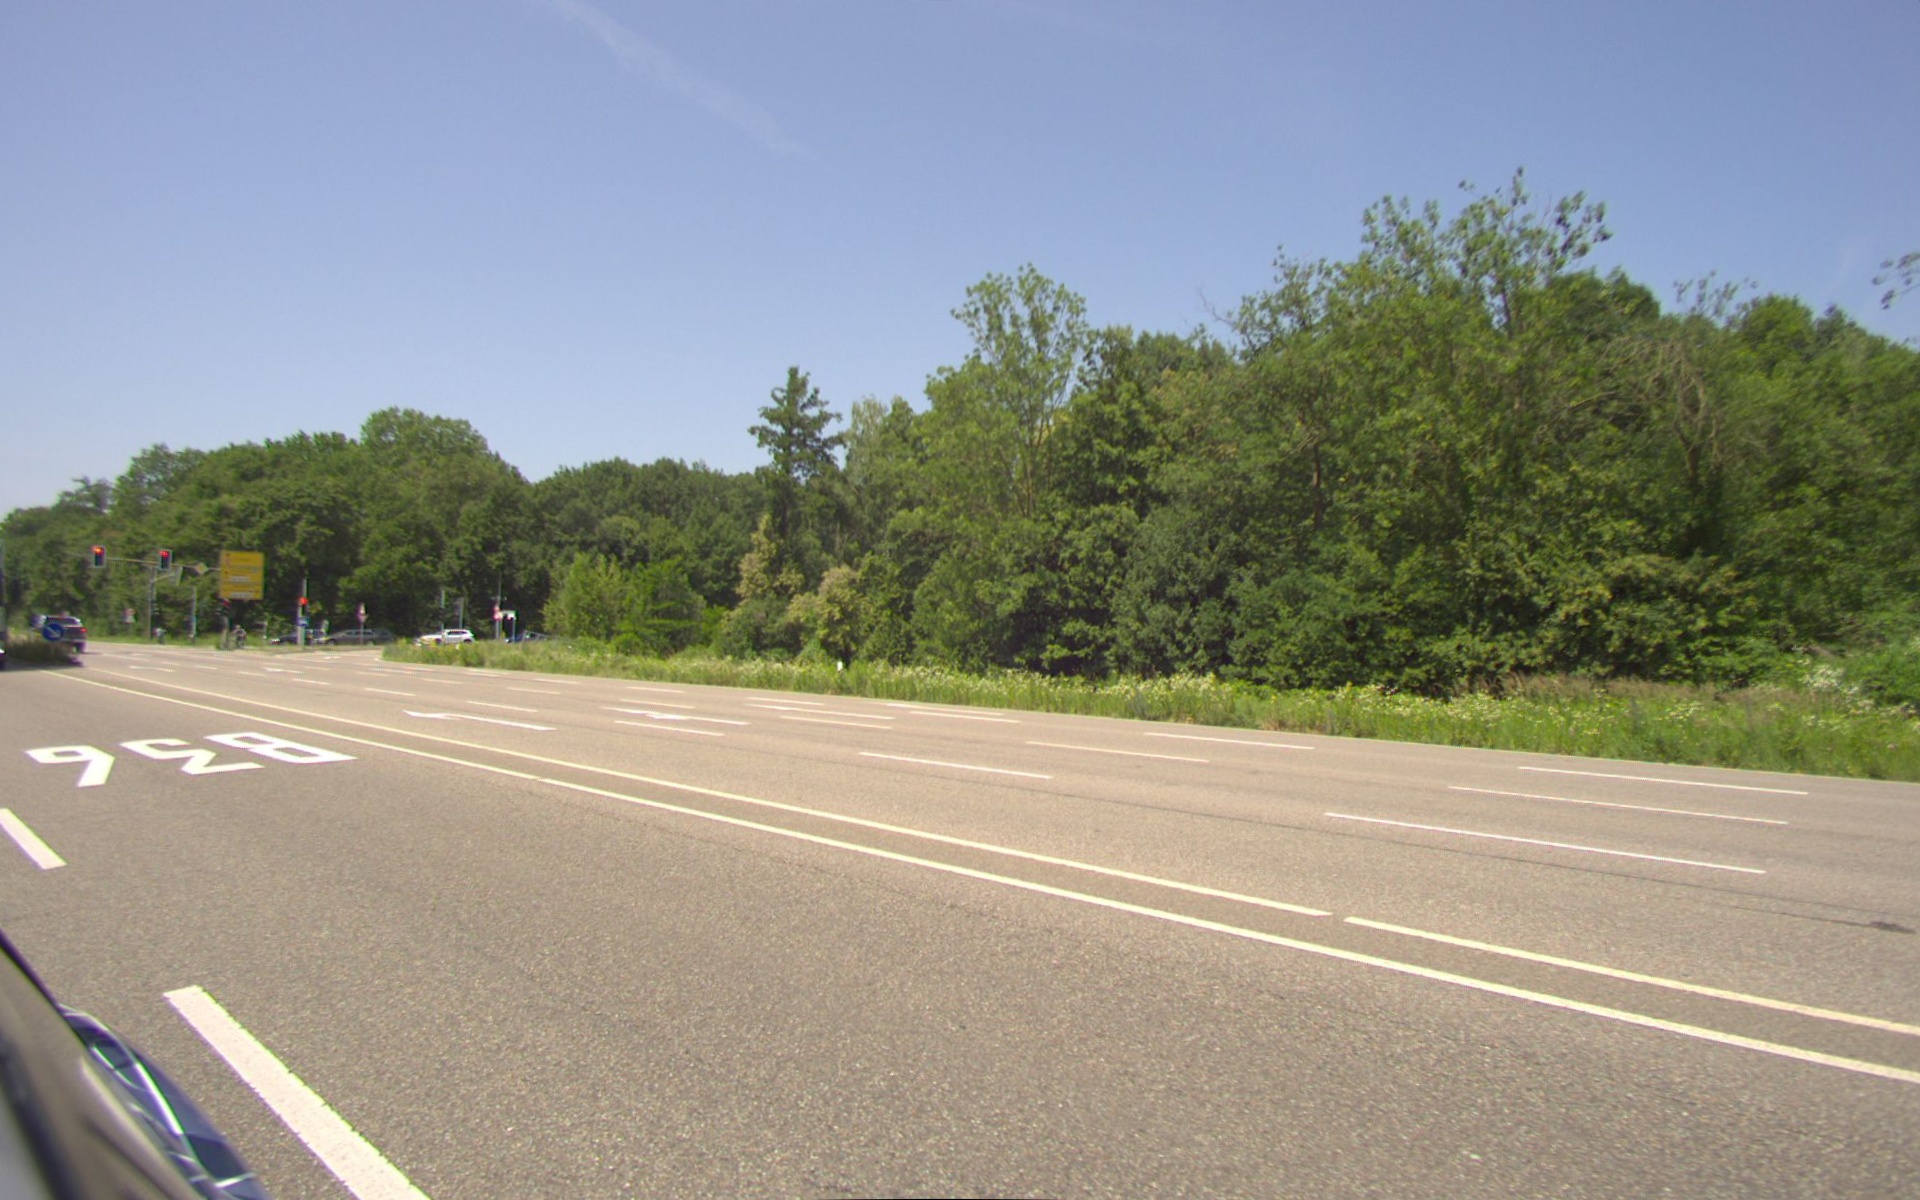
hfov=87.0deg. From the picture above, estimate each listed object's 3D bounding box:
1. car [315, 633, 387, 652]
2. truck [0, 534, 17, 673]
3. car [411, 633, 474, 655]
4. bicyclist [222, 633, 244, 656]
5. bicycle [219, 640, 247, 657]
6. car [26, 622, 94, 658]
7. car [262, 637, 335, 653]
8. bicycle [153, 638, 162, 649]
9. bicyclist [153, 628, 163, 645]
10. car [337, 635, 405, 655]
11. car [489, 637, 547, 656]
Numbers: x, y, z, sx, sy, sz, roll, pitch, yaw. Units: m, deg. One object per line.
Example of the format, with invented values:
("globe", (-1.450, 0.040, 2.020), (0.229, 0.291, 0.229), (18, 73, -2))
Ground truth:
("car", (-50.633, 3.533, 84.202), (1.860, 1.530, 4.756), (-1, -4, 40))
("truck", (-32.008, 0.181, 31.439), (11.313, 3.914, 2.718), (-1, -2, 41))
("car", (-47.862, 4.075, 93.718), (2.066, 1.910, 4.753), (-2, -4, 42))
("bicyclist", (-47.580, 2.899, 66.260), (0.911, 1.471, 0.718), (1, -3, -11))
("bicycle", (-47.572, 3.180, 66.266), (0.712, 1.071, 1.873), (1, -3, -11))
("car", (-45.521, 2.001, 51.159), (5.364, 1.691, 1.972), (-2, -4, 43))
("car", (-55.444, 3.797, 84.891), (2.105, 1.300, 4.753), (-2, -4, 42))
("bicycle", (-69.725, 3.745, 87.922), (0.558, 0.930, 1.608), (3, -3, -39))
("bicyclist", (-69.709, 3.175, 87.957), (0.651, 1.476, 0.811), (3, -4, -39))
("car", (-51.809, 3.953, 89.086), (2.001, 1.648, 4.749), (-2, -4, 45))
("car", (-43.148, 4.521, 98.948), (1.998, 1.770, 4.756), (-1, -4, 40))
